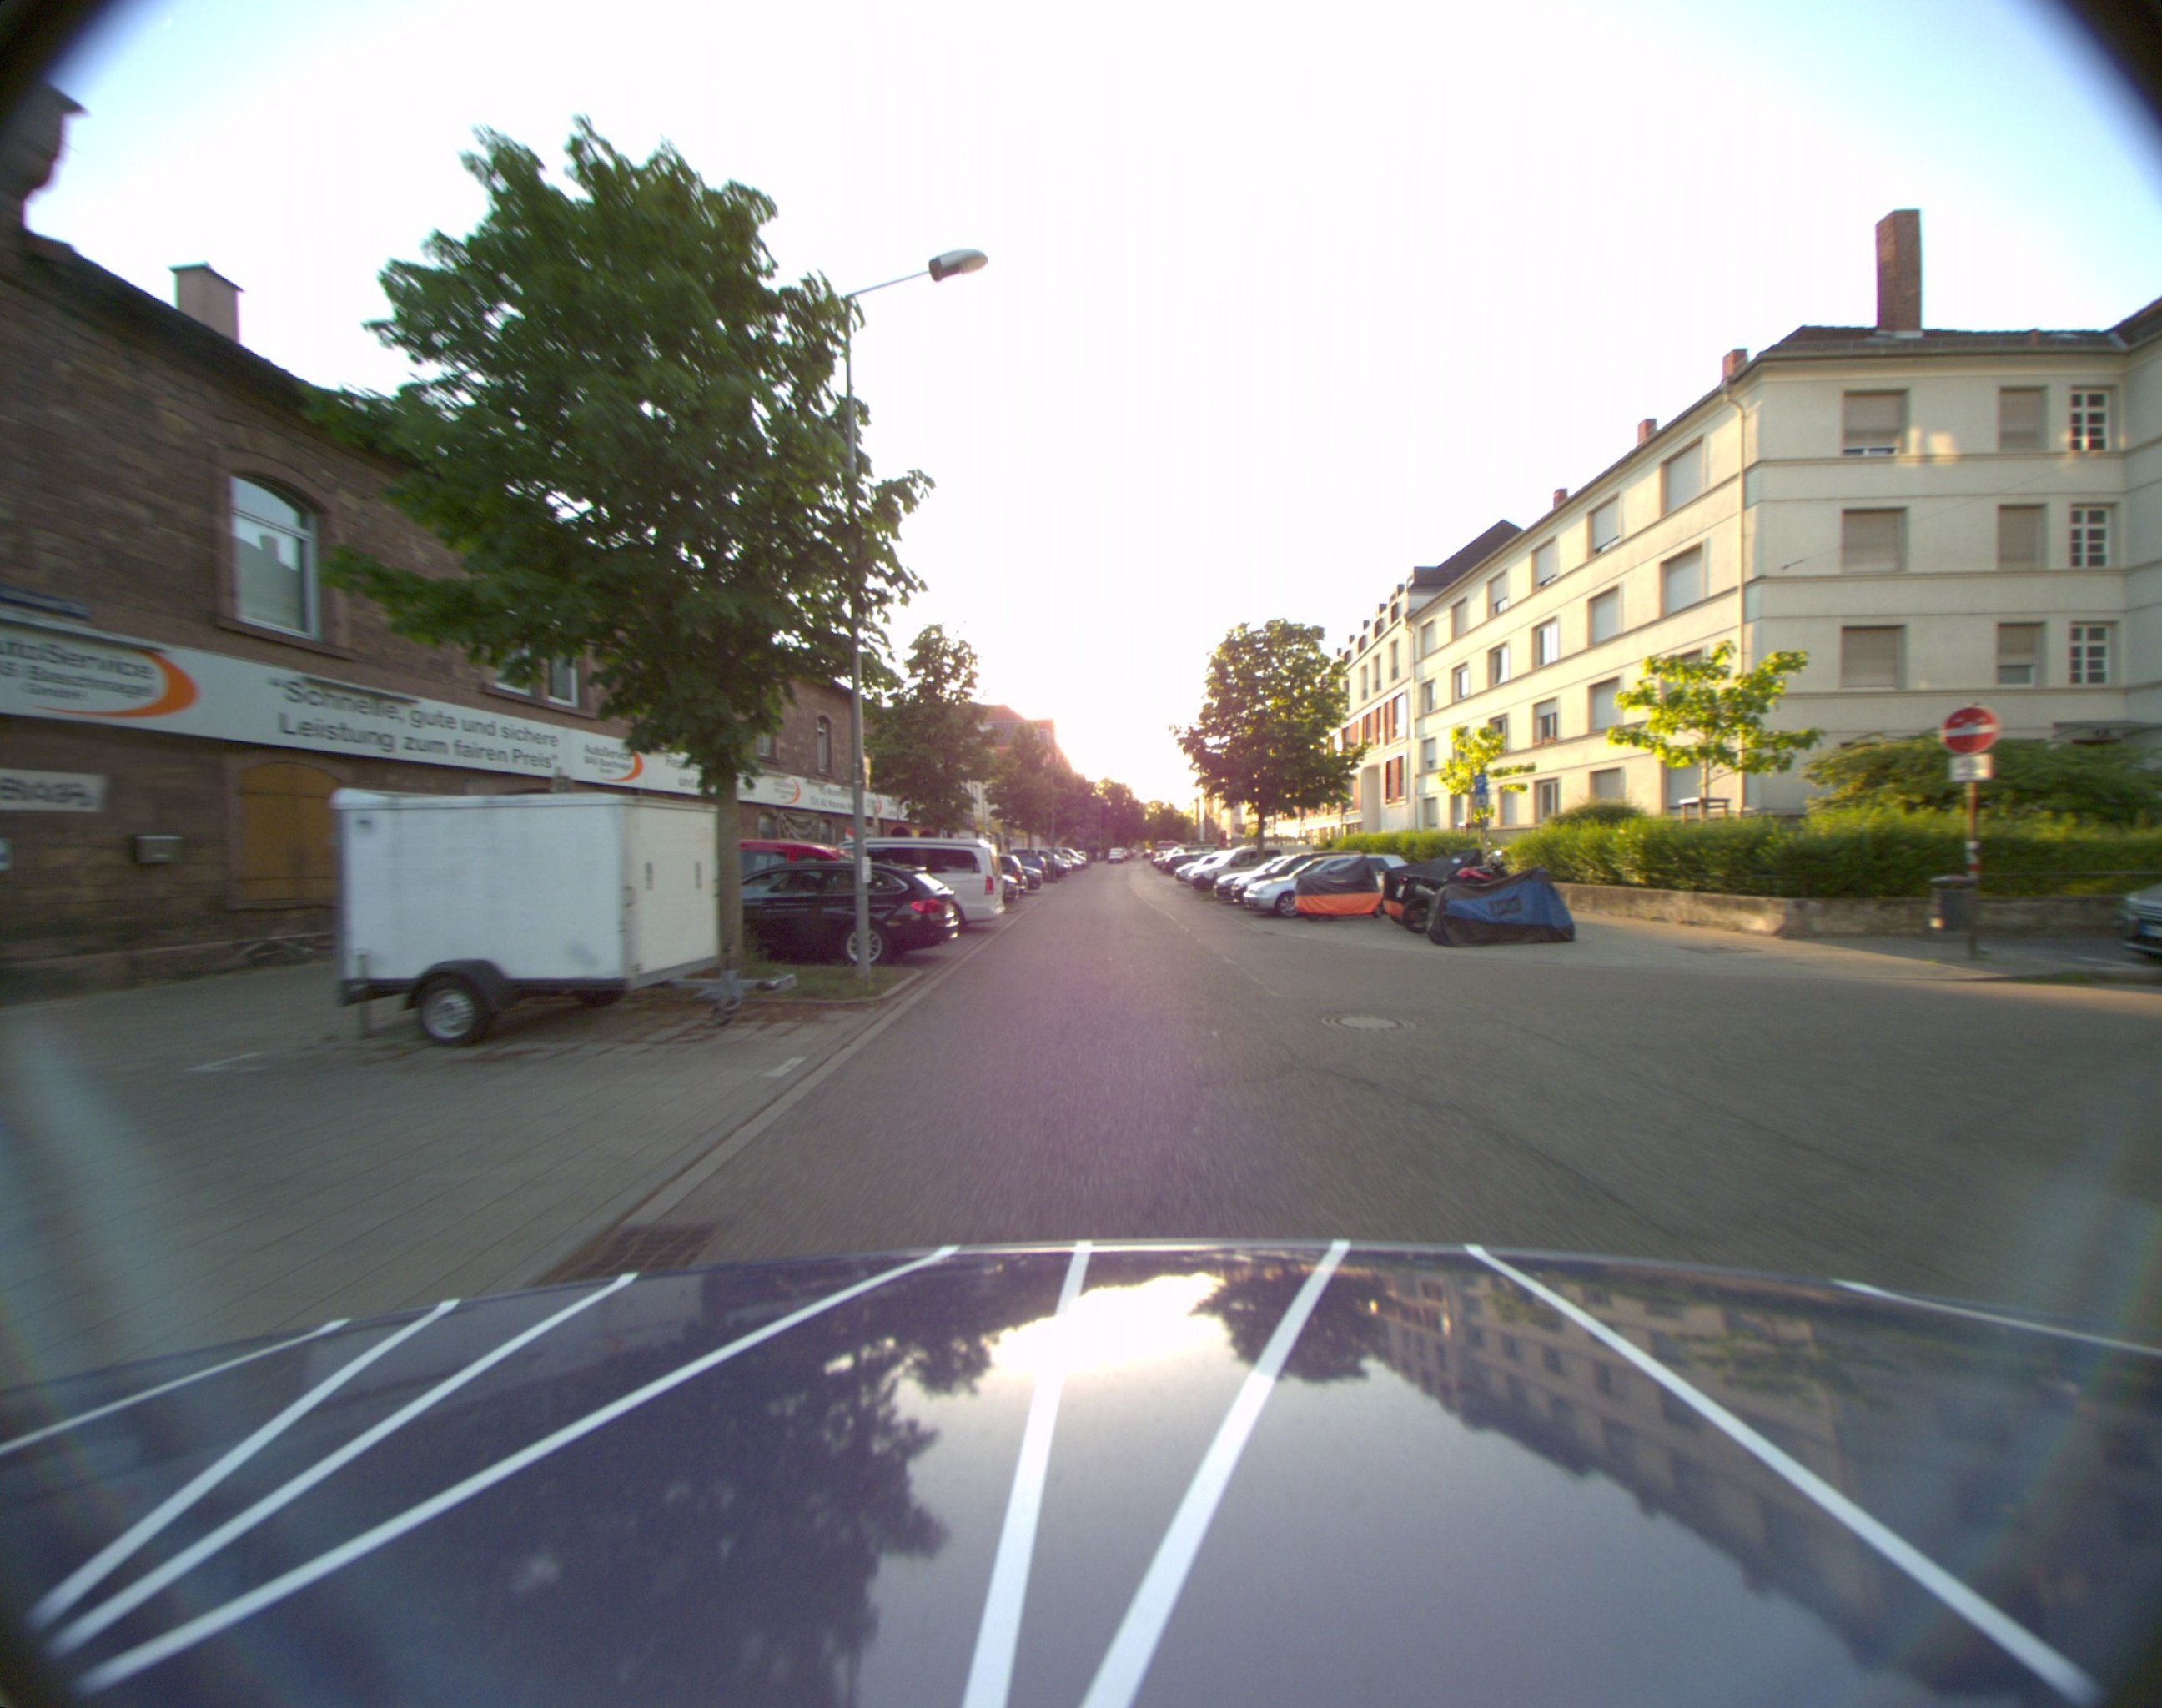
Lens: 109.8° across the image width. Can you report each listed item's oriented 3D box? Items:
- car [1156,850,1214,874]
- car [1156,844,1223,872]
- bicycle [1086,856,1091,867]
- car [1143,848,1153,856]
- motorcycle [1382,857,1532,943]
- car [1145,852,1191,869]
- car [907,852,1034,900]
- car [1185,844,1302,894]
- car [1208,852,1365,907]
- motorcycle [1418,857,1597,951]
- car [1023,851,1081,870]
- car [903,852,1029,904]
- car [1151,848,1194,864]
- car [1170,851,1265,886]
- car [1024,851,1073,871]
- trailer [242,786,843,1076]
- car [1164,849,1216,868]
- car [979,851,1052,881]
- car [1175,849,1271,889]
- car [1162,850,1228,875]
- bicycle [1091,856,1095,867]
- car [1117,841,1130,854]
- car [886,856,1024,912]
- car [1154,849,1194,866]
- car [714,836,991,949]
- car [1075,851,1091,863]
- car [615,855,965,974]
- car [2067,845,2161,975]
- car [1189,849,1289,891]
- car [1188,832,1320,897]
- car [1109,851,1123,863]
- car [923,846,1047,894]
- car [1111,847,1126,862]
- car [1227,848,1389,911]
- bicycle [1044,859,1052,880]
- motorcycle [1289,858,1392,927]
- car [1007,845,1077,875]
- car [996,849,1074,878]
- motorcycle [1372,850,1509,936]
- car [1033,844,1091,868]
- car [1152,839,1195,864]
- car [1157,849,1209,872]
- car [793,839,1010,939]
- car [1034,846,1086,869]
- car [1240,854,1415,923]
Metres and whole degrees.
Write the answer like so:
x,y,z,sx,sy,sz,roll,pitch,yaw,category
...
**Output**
x,y,z,sx,sy,sz,roll,pitch,yaw,category
7.406,0.529,54.264,3.893,1.484,1.654,-3,1,1,car
8.062,0.265,56.838,4.865,2.043,2.001,0,1,6,car
0.766,0.773,76.157,0.357,1.018,1.972,-1,1,2,bicycle
13.999,-0.414,158.948,1.762,1.478,3.784,1,1,2,car
6.621,0.804,13.459,2.235,1.428,0.774,-1,1,5,motorcycle
8.207,0.578,71.874,4.272,1.485,1.789,-1,1,5,car
-4.121,0.809,28.787,4.425,1.565,1.982,2,0,1,car
6.578,0.600,31.206,4.431,1.791,1.944,-3,0,5,car
6.237,0.759,23.466,4.336,1.397,1.852,-3,1,4,car
6.886,0.795,12.376,2.388,1.428,0.881,-1,1,5,motorcycle
-2.391,0.550,63.902,4.732,1.487,2.000,1,1,3,car
-3.879,0.796,26.157,3.996,1.609,1.895,1,1,1,car
9.494,0.229,79.209,4.346,1.515,1.706,-2,1,4,car
6.885,0.720,38.567,4.419,1.443,1.827,-4,1,1,car
-2.562,0.569,61.286,3.794,1.488,1.681,1,1,2,car
-4.514,0.614,6.863,3.996,2.175,2.000,-1,1,4,trailer
9.170,0.369,64.318,3.999,1.579,2.052,-1,1,-5,car
-3.774,0.688,44.277,3.996,1.537,1.845,2,1,3,car
6.670,0.697,36.039,4.253,1.611,1.813,-3,0,3,car
7.749,0.557,51.811,4.149,1.408,1.738,-3,1,-1,car
1.189,0.745,76.154,0.357,1.093,1.972,-1,1,2,bicycle
6.922,-1.107,123.843,1.998,2.002,4.000,-1,1,2,car
-3.837,0.895,23.670,3.955,1.556,1.820,-1,1,0,car
9.427,0.325,76.856,3.957,1.531,1.756,-2,1,6,car
-3.928,0.640,13.616,4.311,1.789,1.904,-1,1,2,car
0.257,0.359,98.105,1.799,1.515,4.000,-1,1,2,car
-4.098,0.832,11.206,4.437,1.490,1.773,-1,1,2,car
14.227,0.609,8.503,3.773,1.456,1.829,-1,1,5,car
6.903,0.683,33.490,3.996,1.476,1.756,-5,0,2,car
6.385,0.399,28.511,4.522,2.058,2.001,-4,-1,6,car
4.539,0.364,97.390,1.732,1.367,3.763,-1,1,2,car
-3.905,0.646,31.545,4.798,1.743,2.018,2,0,2,car
5.136,0.079,103.244,1.939,1.893,4.056,-1,1,2,car
6.163,0.680,20.964,3.996,1.574,1.729,-1,1,4,car
-2.010,0.937,46.521,0.309,1.185,1.762,-1,1,2,bicycle
5.693,0.832,16.743,1.991,1.428,0.721,-1,1,-3,motorcycle
-2.742,0.400,54.086,4.596,1.851,2.012,4,1,5,car
-2.939,0.608,48.889,4.704,1.622,2.001,3,1,5,car
6.905,0.738,14.675,2.235,1.573,0.774,-1,1,5,motorcycle
-1.729,0.178,69.436,4.970,2.089,2.151,-1,2,8,car
9.946,-0.311,82.022,4.411,2.542,1.932,-1,1,5,car
8.881,0.554,66.386,4.188,1.885,1.897,-1,1,-1,car
-3.634,0.684,15.973,3.996,1.893,2.000,-1,1,1,car
-1.797,0.288,66.894,4.300,1.847,2.001,1,1,7,car
5.874,0.803,18.449,3.722,1.497,1.690,-1,1,3,car
